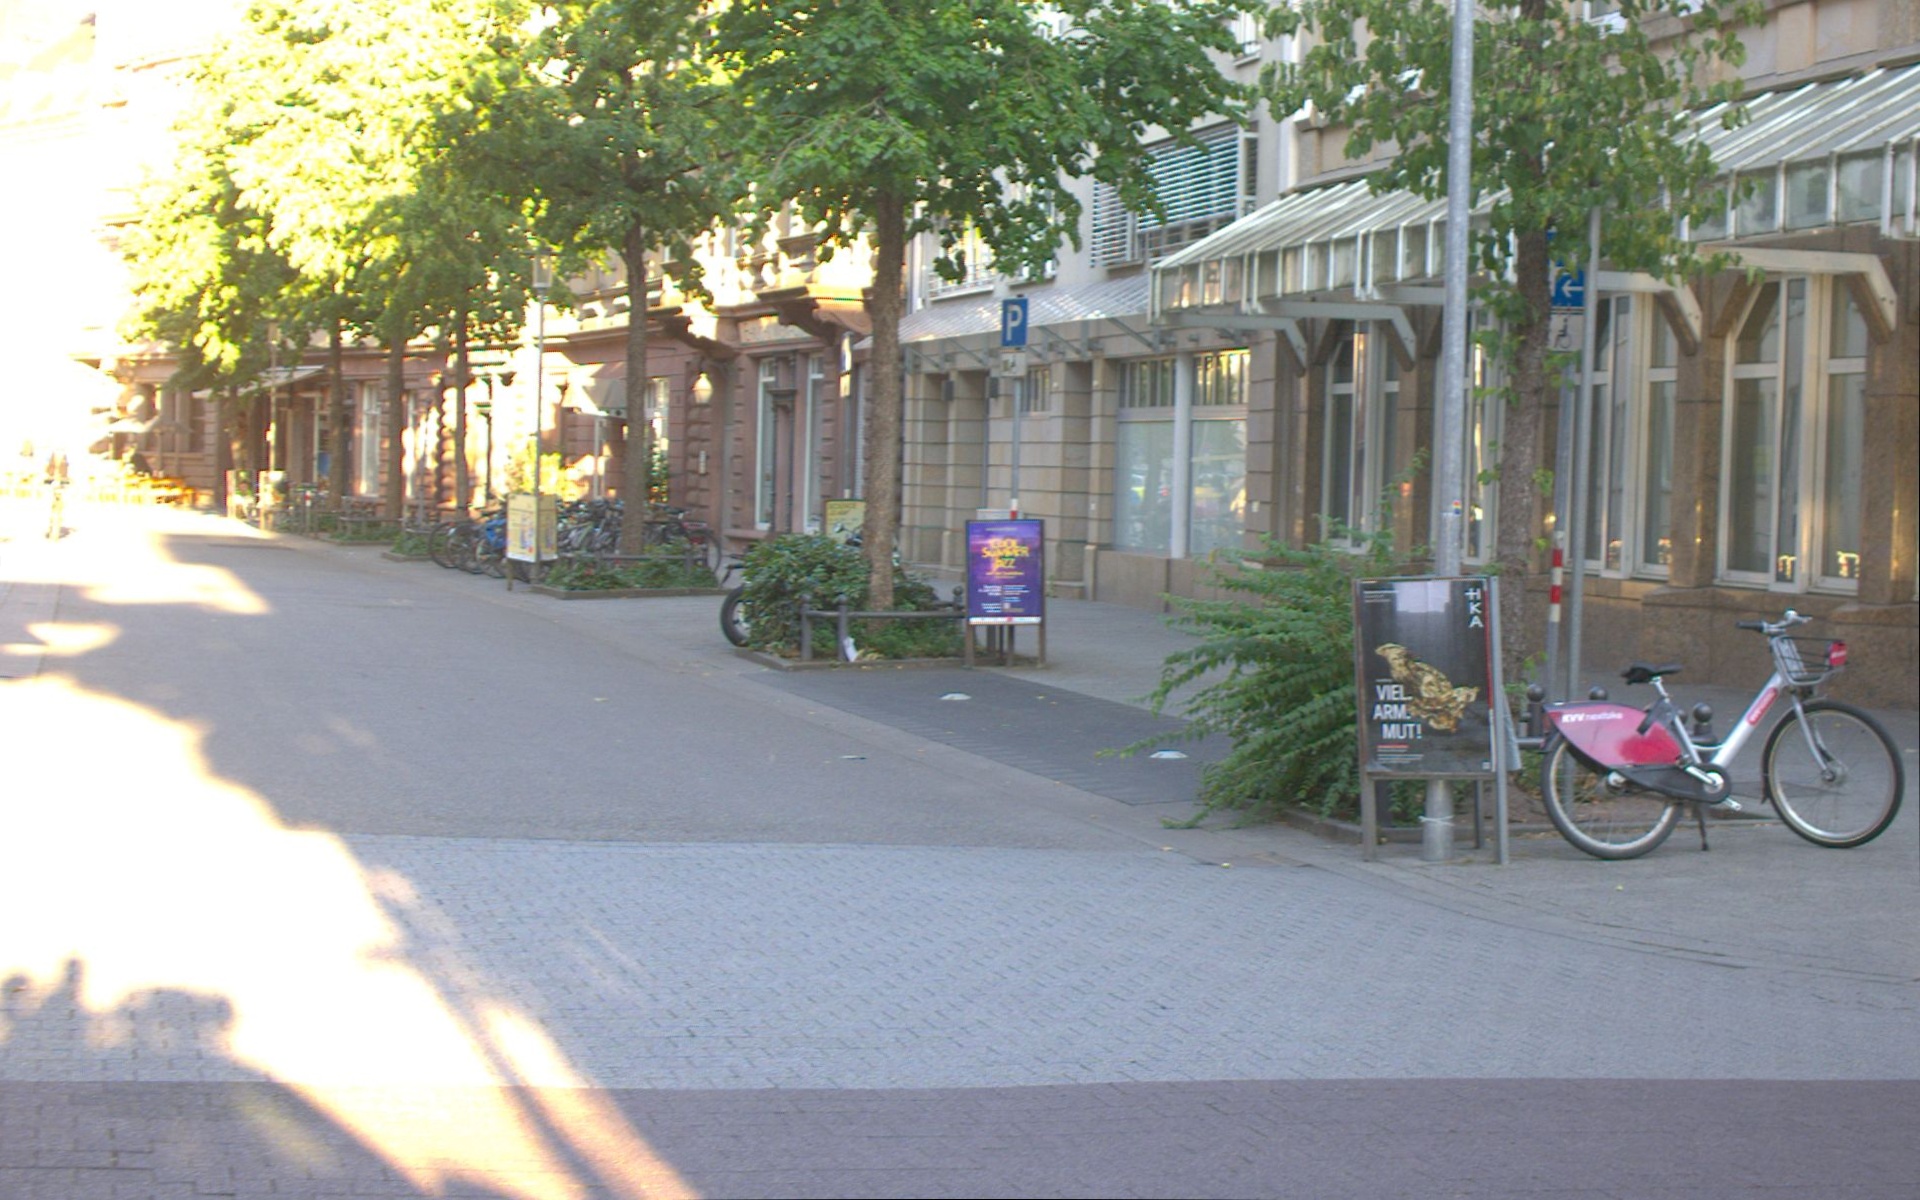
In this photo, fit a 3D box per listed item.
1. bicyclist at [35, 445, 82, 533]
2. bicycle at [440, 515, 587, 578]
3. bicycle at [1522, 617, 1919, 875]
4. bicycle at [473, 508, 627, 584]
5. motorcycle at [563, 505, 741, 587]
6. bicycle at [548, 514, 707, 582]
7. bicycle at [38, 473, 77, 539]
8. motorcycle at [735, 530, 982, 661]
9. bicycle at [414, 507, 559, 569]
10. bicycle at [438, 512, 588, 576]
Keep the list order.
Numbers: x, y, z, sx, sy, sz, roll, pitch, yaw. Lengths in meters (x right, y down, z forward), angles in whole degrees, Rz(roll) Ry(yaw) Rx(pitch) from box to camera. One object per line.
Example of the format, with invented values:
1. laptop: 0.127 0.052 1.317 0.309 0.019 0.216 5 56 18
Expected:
1. bicyclist: -15.348 -1.891 58.522 0.721 1.463 0.718 1 2 -17
2. bicycle: -6.858 -0.821 52.859 2.152 0.922 0.591 0 1 -22
3. bicycle: 3.360 0.634 15.178 1.656 1.047 0.663 -1 3 3
4. bicycle: -5.935 -0.789 49.819 2.153 1.057 0.591 1 1 -1
5. motorcycle: -4.207 -0.738 47.092 2.471 1.091 0.590 0 1 -37
6. bicycle: -4.651 -0.721 48.157 2.153 0.922 0.591 0 1 -30
7. bicycle: -15.379 -1.604 58.571 0.588 1.091 2.161 1 1 -16
8. motorcycle: -0.911 -0.039 31.014 2.152 1.147 0.494 1 1 -18
9. bicycle: -7.409 -0.970 53.796 2.152 0.922 0.591 0 1 -22
10. bicycle: -6.758 -0.845 51.965 2.152 0.922 0.591 0 1 -22
